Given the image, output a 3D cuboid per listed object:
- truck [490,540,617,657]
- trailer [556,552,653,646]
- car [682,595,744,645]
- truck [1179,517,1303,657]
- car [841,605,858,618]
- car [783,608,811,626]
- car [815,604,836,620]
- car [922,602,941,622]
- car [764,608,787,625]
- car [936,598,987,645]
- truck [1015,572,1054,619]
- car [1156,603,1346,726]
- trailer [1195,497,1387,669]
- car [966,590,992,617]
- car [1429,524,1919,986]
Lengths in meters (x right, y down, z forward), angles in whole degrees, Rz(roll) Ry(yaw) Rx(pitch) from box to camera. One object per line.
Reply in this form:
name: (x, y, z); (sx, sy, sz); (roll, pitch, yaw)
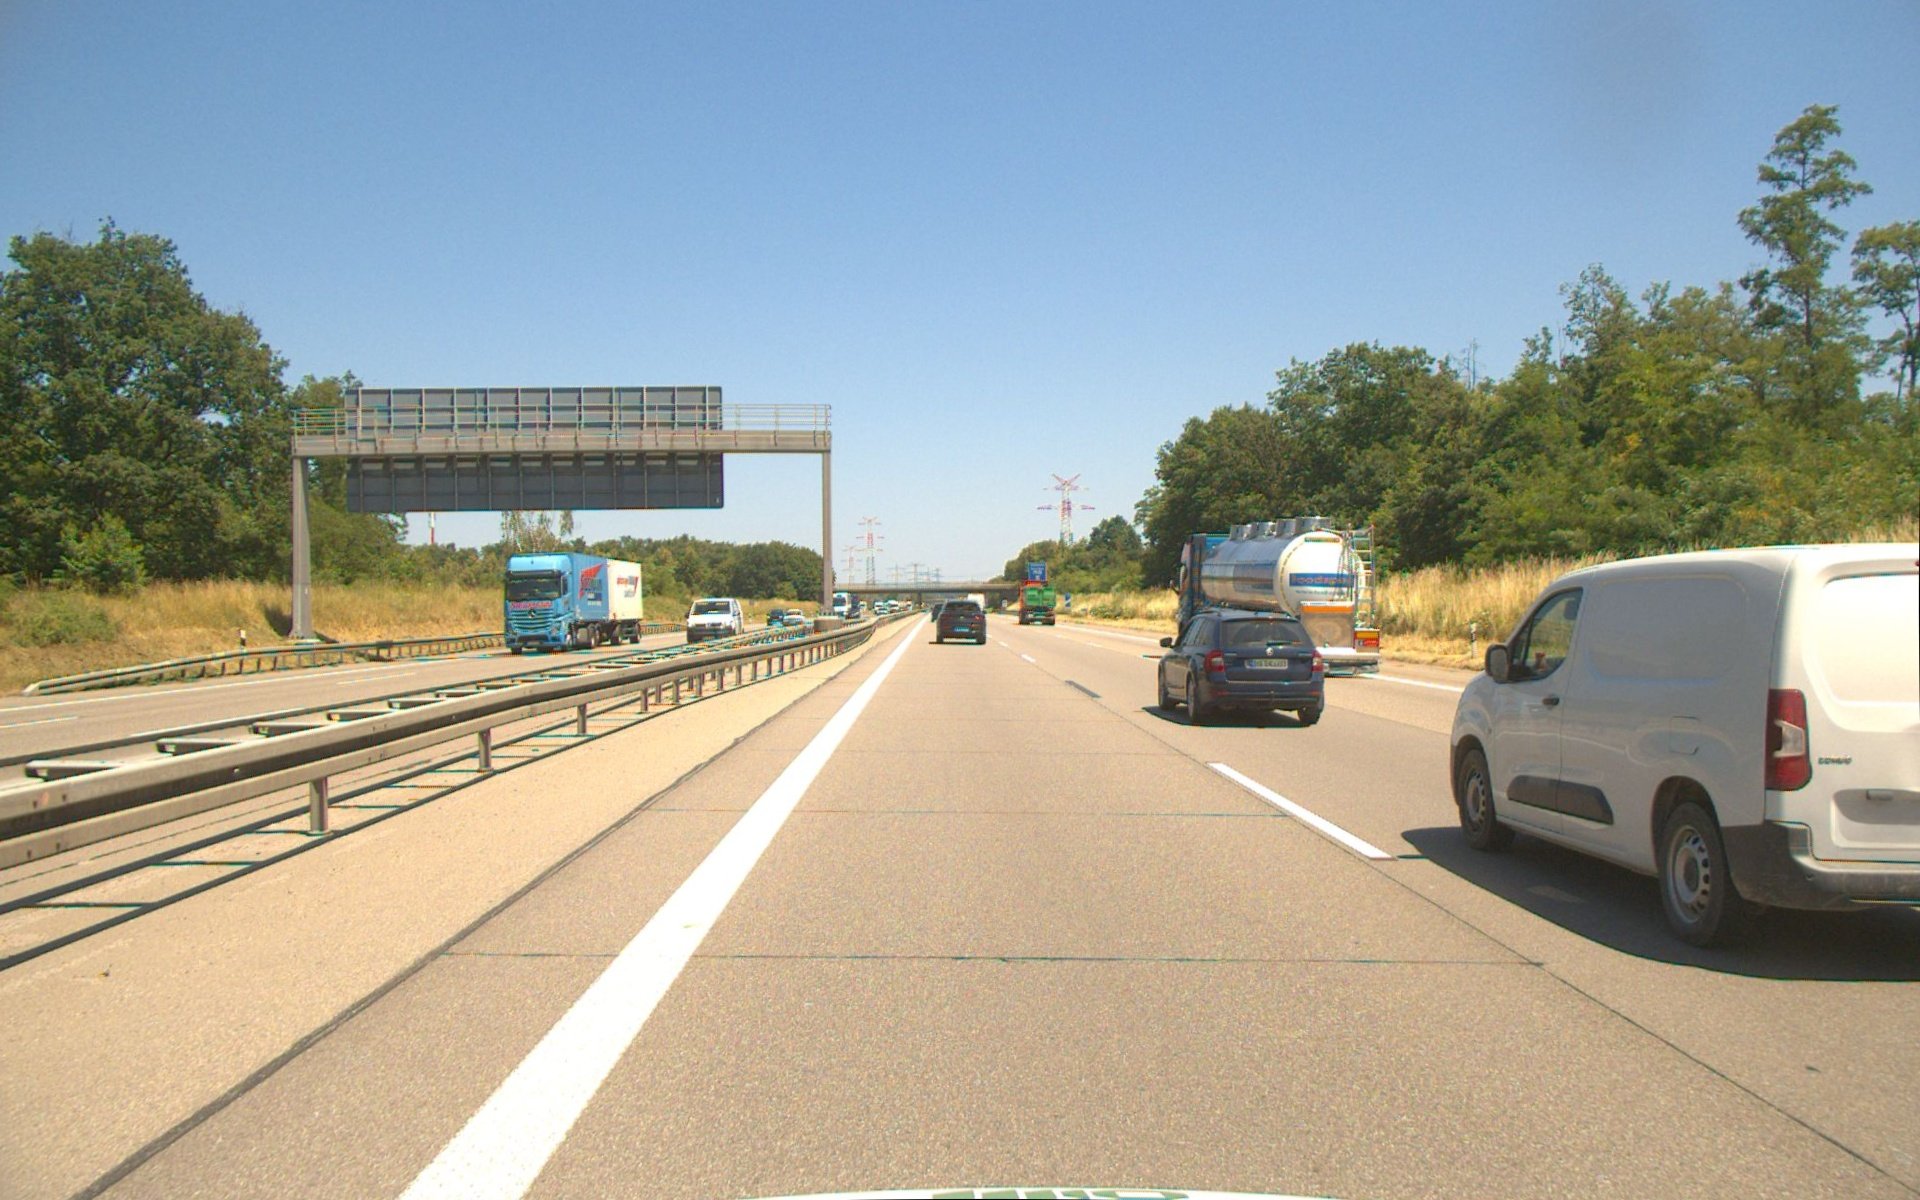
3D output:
truck: (-17.418, -0.070, 71.714); (2.996, 4.638, 10.457); (-1, 0, -1)
trailer: (-17.528, -0.034, 82.091); (2.996, 4.357, 8.633); (-1, 0, -1)
car: (-9.963, 0.789, 67.132); (1.794, 1.887, 5.235); (-2, 0, -1)
truck: (8.155, -0.343, 48.597); (2.477, 3.799, 6.097); (1, 0, -1)
car: (-14.527, 1.497, 217.687); (1.922, 1.552, 5.288); (-2, 0, -1)
car: (-13.787, 1.391, 139.889); (1.769, 1.420, 4.481); (-2, 0, 2)
car: (-14.988, 1.304, 184.711); (1.922, 1.748, 5.288); (-2, 0, -1)
car: (-2.636, 1.096, 154.673); (1.758, 1.780, 3.999); (1, 0, -1)
car: (-18.800, 1.676, 168.603); (1.794, 1.581, 4.948); (-2, 0, -1)
car: (0.024, 0.825, 65.876); (1.953, 1.780, 3.999); (1, 0, -1)
truck: (6.382, -0.343, 143.585); (2.626, 3.864, 12.476); (1, 0, -1)
car: (3.900, 0.817, 22.841); (1.765, 1.509, 4.270); (1, 0, -1)
trailer: (8.239, -0.362, 42.805); (2.477, 3.799, 11.546); (1, 0, -1)
car: (2.037, 0.409, 179.168); (2.567, 2.807, 6.095); (1, 0, -1)
car: (4.249, 0.643, 9.144); (1.828, 1.849, 4.940); (1, 0, -1)
